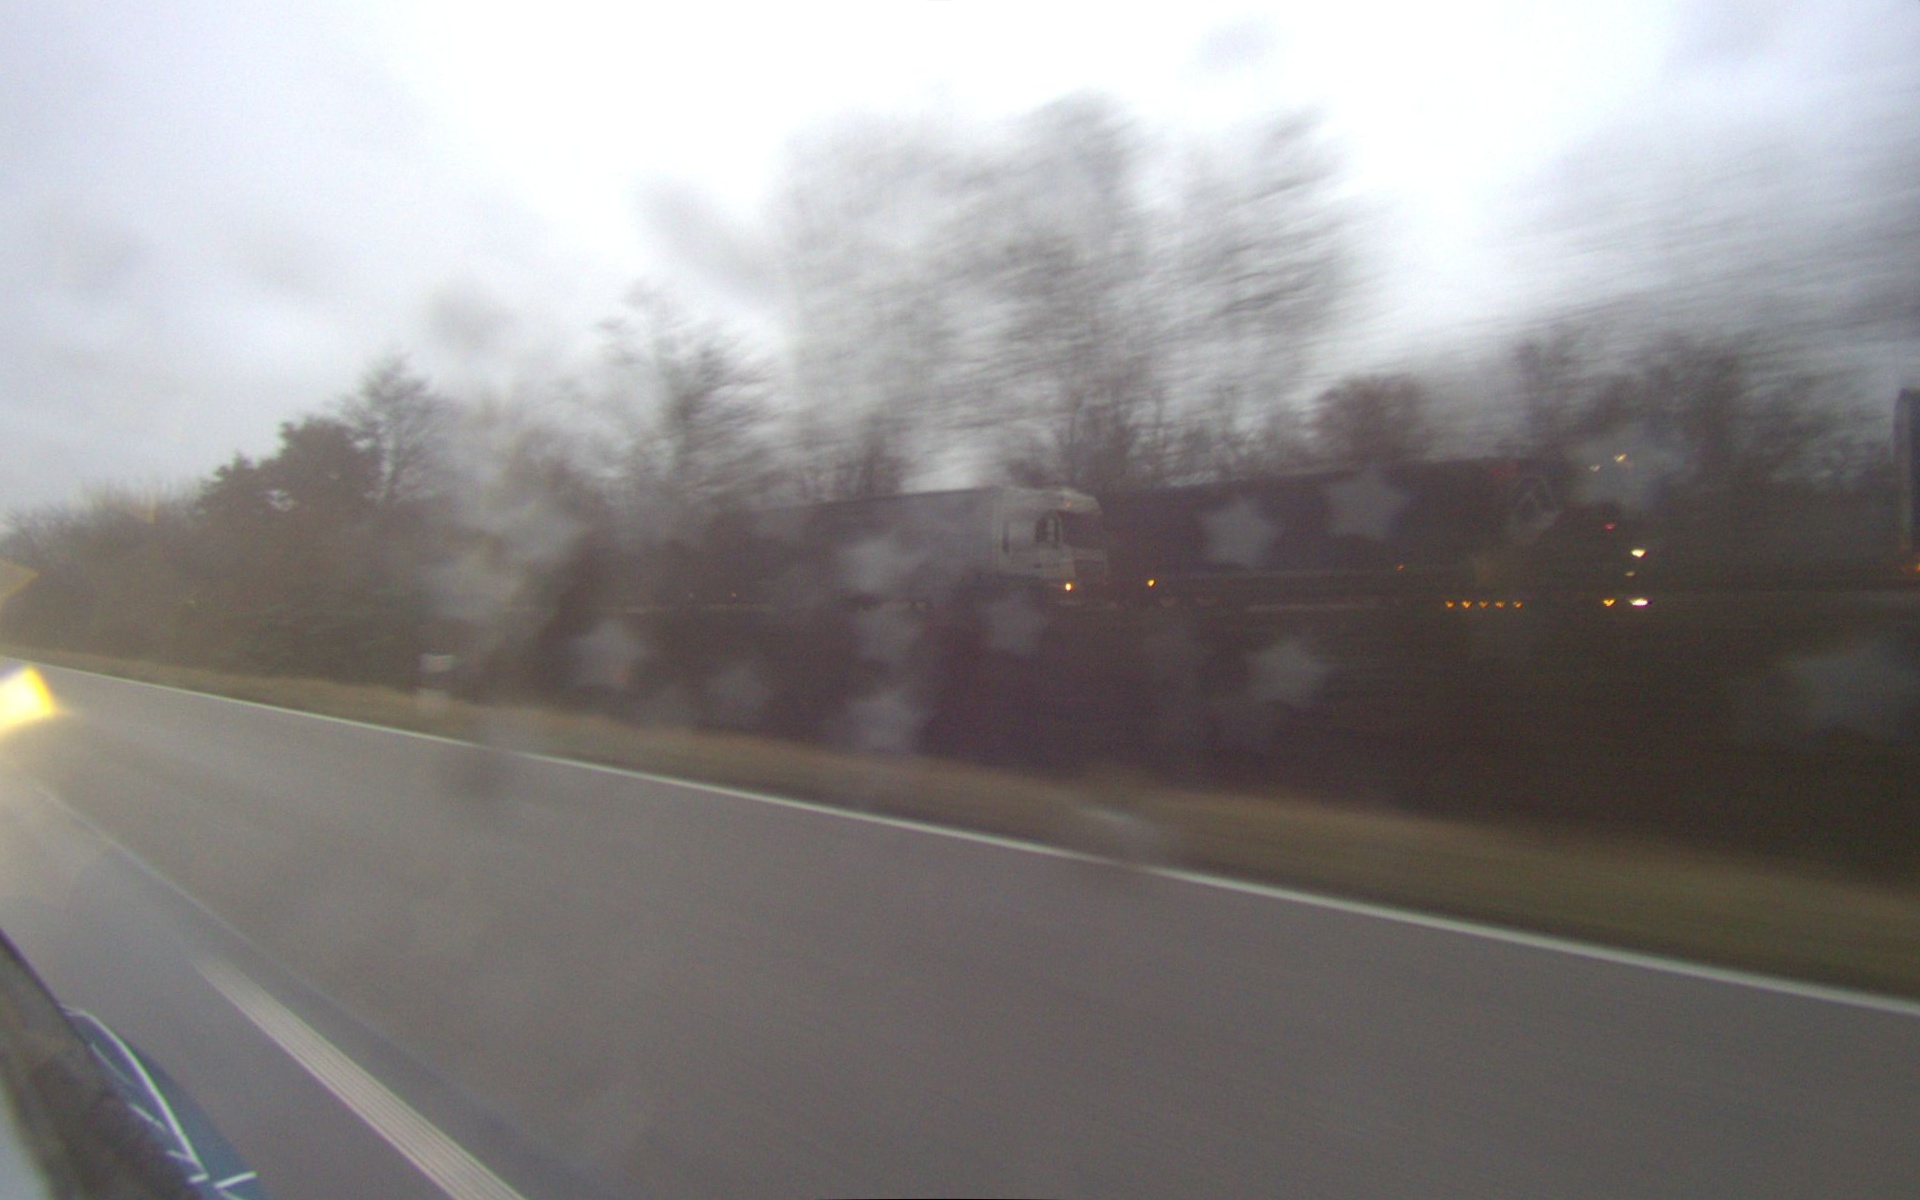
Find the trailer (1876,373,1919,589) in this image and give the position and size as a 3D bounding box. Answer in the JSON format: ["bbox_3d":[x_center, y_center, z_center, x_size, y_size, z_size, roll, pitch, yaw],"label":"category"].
[{"bbox_3d":[21.422,-2.149,15.052,11.379,3.661,2.968,-1,-2,41],"label":"trailer"}]

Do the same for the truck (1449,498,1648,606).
[{"bbox_3d":[15.051,-1.113,25.962,3.998,2.454,2.503,-1,-2,41],"label":"truck"}]

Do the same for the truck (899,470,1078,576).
[{"bbox_3d":[0.839,-2.374,32.900,5.580,2.909,2.424,-1,-2,41],"label":"truck"}]

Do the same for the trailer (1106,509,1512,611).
[{"bbox_3d":[9.929,-0.970,30.452,11.496,2.443,2.482,-1,-2,41],"label":"trailer"}]

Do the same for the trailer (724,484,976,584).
[{"bbox_3d":[-4.412,-2.226,37.459,11.079,2.913,2.410,-1,-2,41],"label":"trailer"}]
